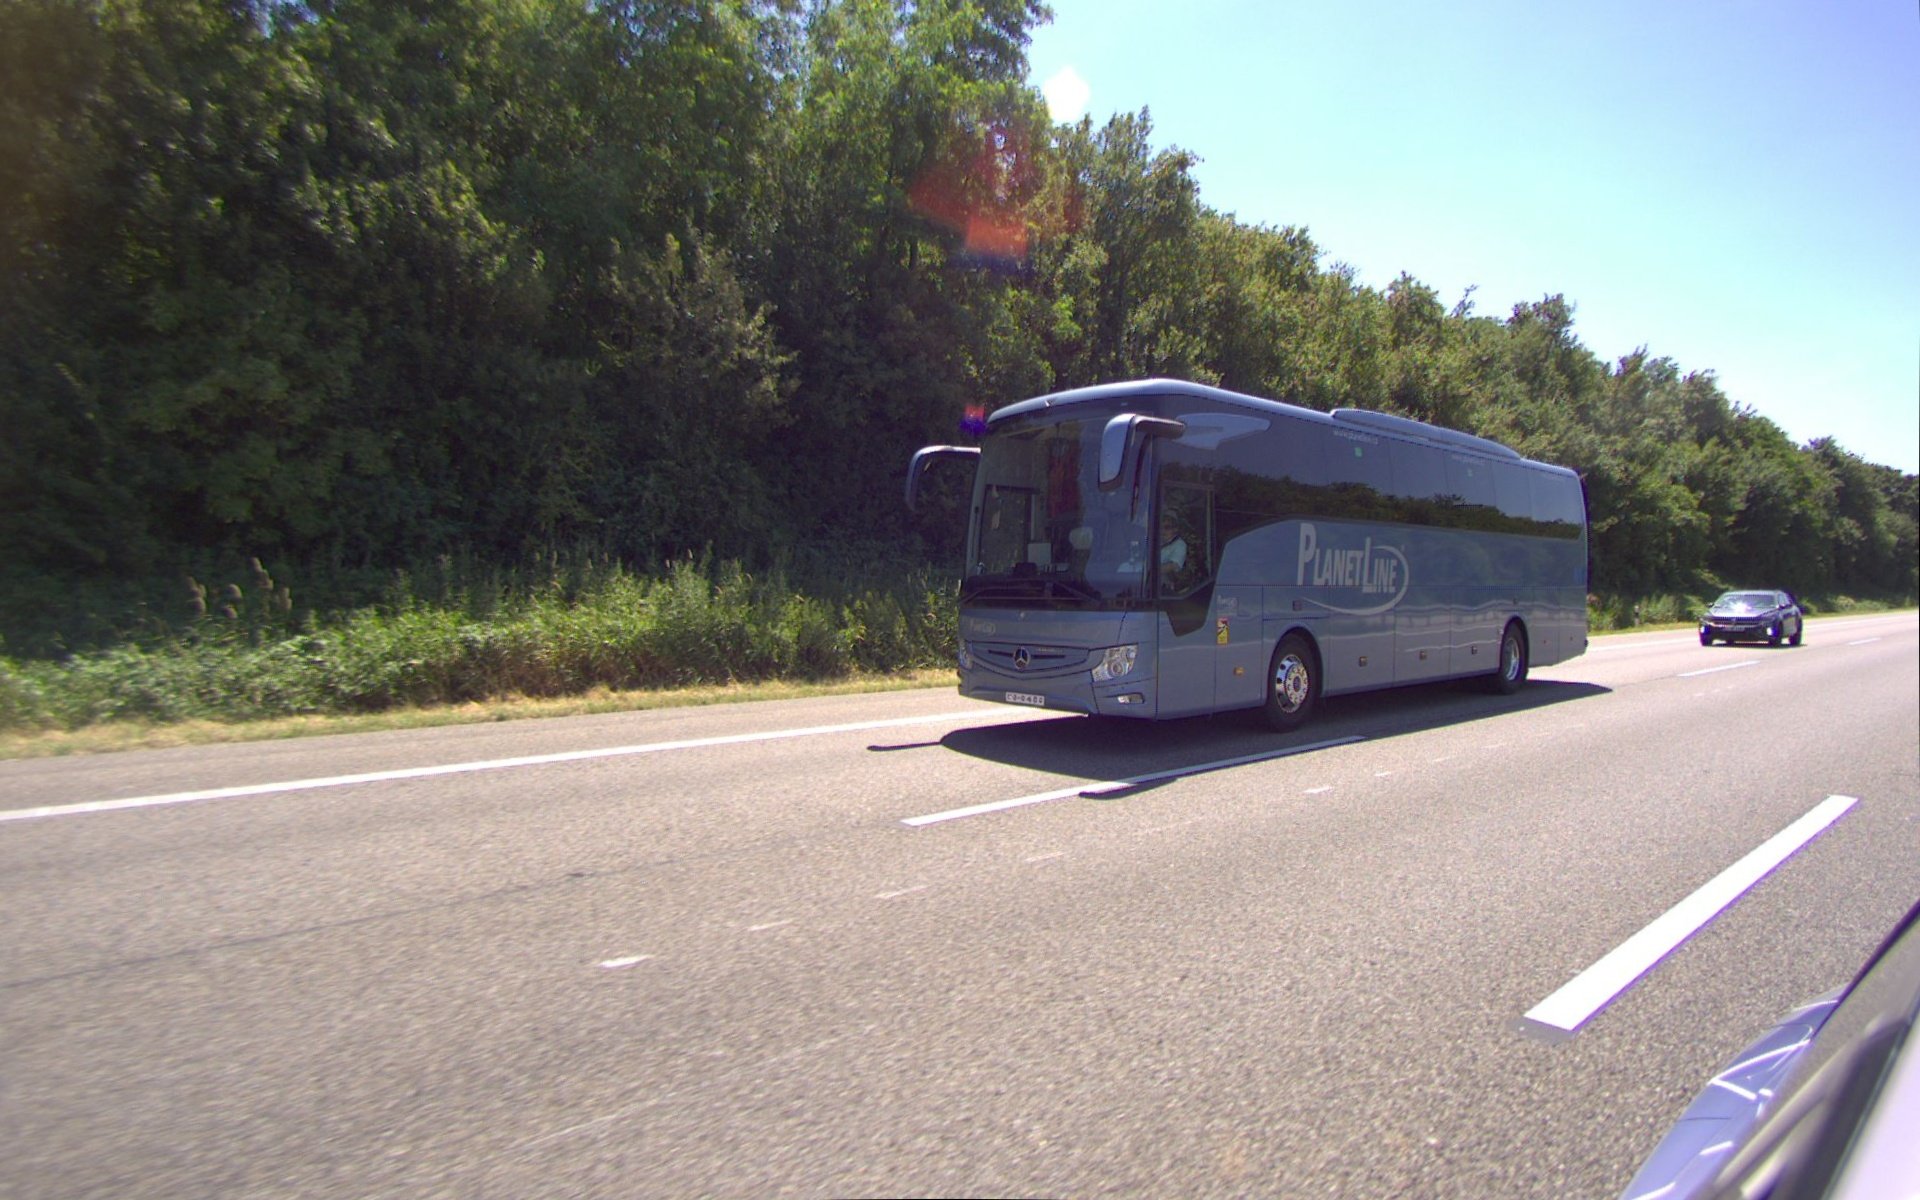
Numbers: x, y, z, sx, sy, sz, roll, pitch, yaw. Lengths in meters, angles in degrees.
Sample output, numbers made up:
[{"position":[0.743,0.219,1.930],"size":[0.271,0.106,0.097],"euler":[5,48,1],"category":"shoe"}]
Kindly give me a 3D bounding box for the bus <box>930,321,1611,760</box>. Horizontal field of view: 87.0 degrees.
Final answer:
[{"position":[5.171,-0.557,13.547],"size":[12.259,3.641,2.806],"euler":[-1,1,-42],"category":"bus"}]

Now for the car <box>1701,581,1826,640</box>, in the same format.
[{"position":[22.841,0.255,28.708],"size":[4.675,1.551,1.903],"euler":[0,1,-40],"category":"car"}]
